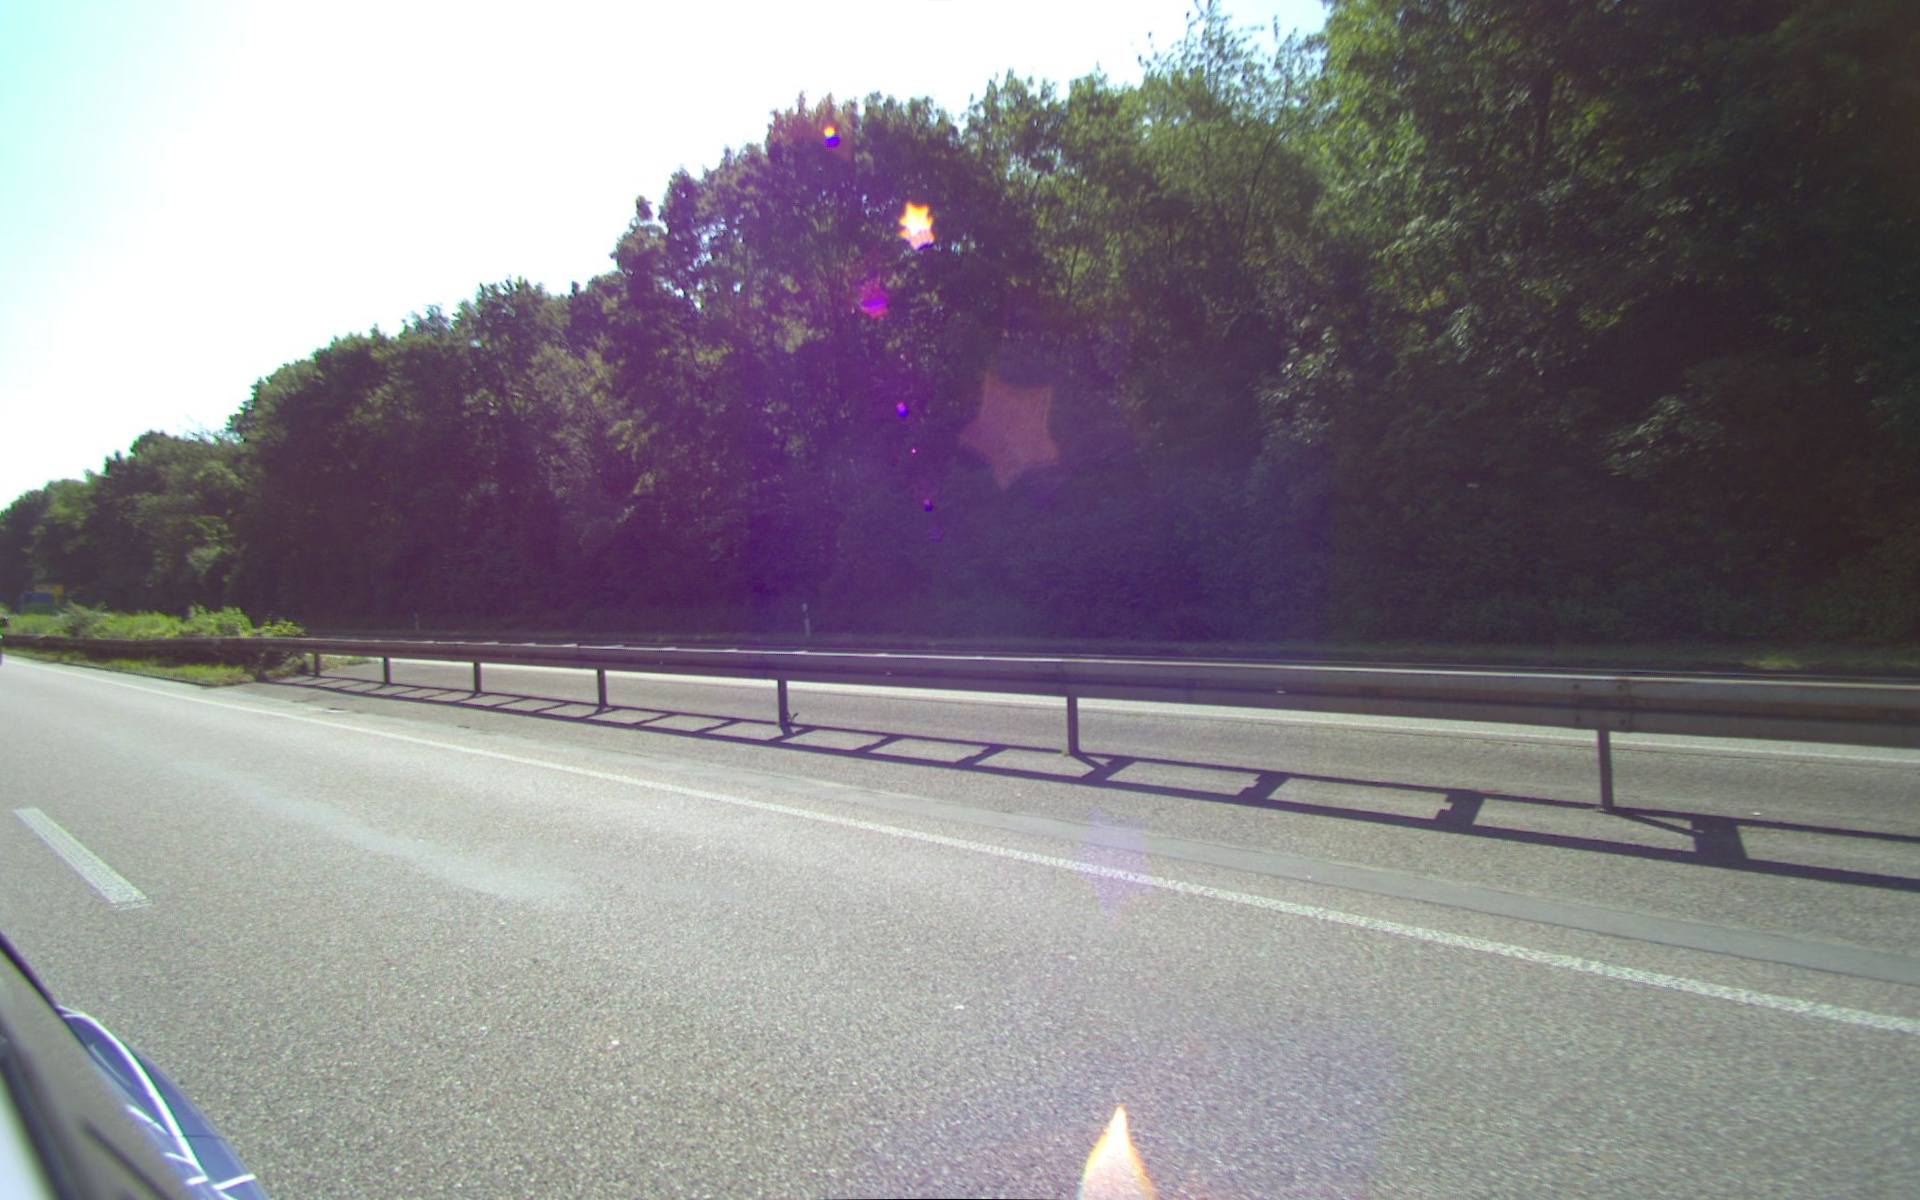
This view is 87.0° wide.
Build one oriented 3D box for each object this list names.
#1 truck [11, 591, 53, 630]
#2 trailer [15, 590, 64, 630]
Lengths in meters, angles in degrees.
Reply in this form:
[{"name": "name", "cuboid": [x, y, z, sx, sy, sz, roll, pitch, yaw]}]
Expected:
[{"name": "truck", "cuboid": [-91.901, 1.022, 100.244, 3.998, 3.734, 2.618, -1, 0, 41]}, {"name": "trailer", "cuboid": [-88.455, 0.970, 97.232, 7.981, 3.740, 2.660, -1, 0, 42]}]
